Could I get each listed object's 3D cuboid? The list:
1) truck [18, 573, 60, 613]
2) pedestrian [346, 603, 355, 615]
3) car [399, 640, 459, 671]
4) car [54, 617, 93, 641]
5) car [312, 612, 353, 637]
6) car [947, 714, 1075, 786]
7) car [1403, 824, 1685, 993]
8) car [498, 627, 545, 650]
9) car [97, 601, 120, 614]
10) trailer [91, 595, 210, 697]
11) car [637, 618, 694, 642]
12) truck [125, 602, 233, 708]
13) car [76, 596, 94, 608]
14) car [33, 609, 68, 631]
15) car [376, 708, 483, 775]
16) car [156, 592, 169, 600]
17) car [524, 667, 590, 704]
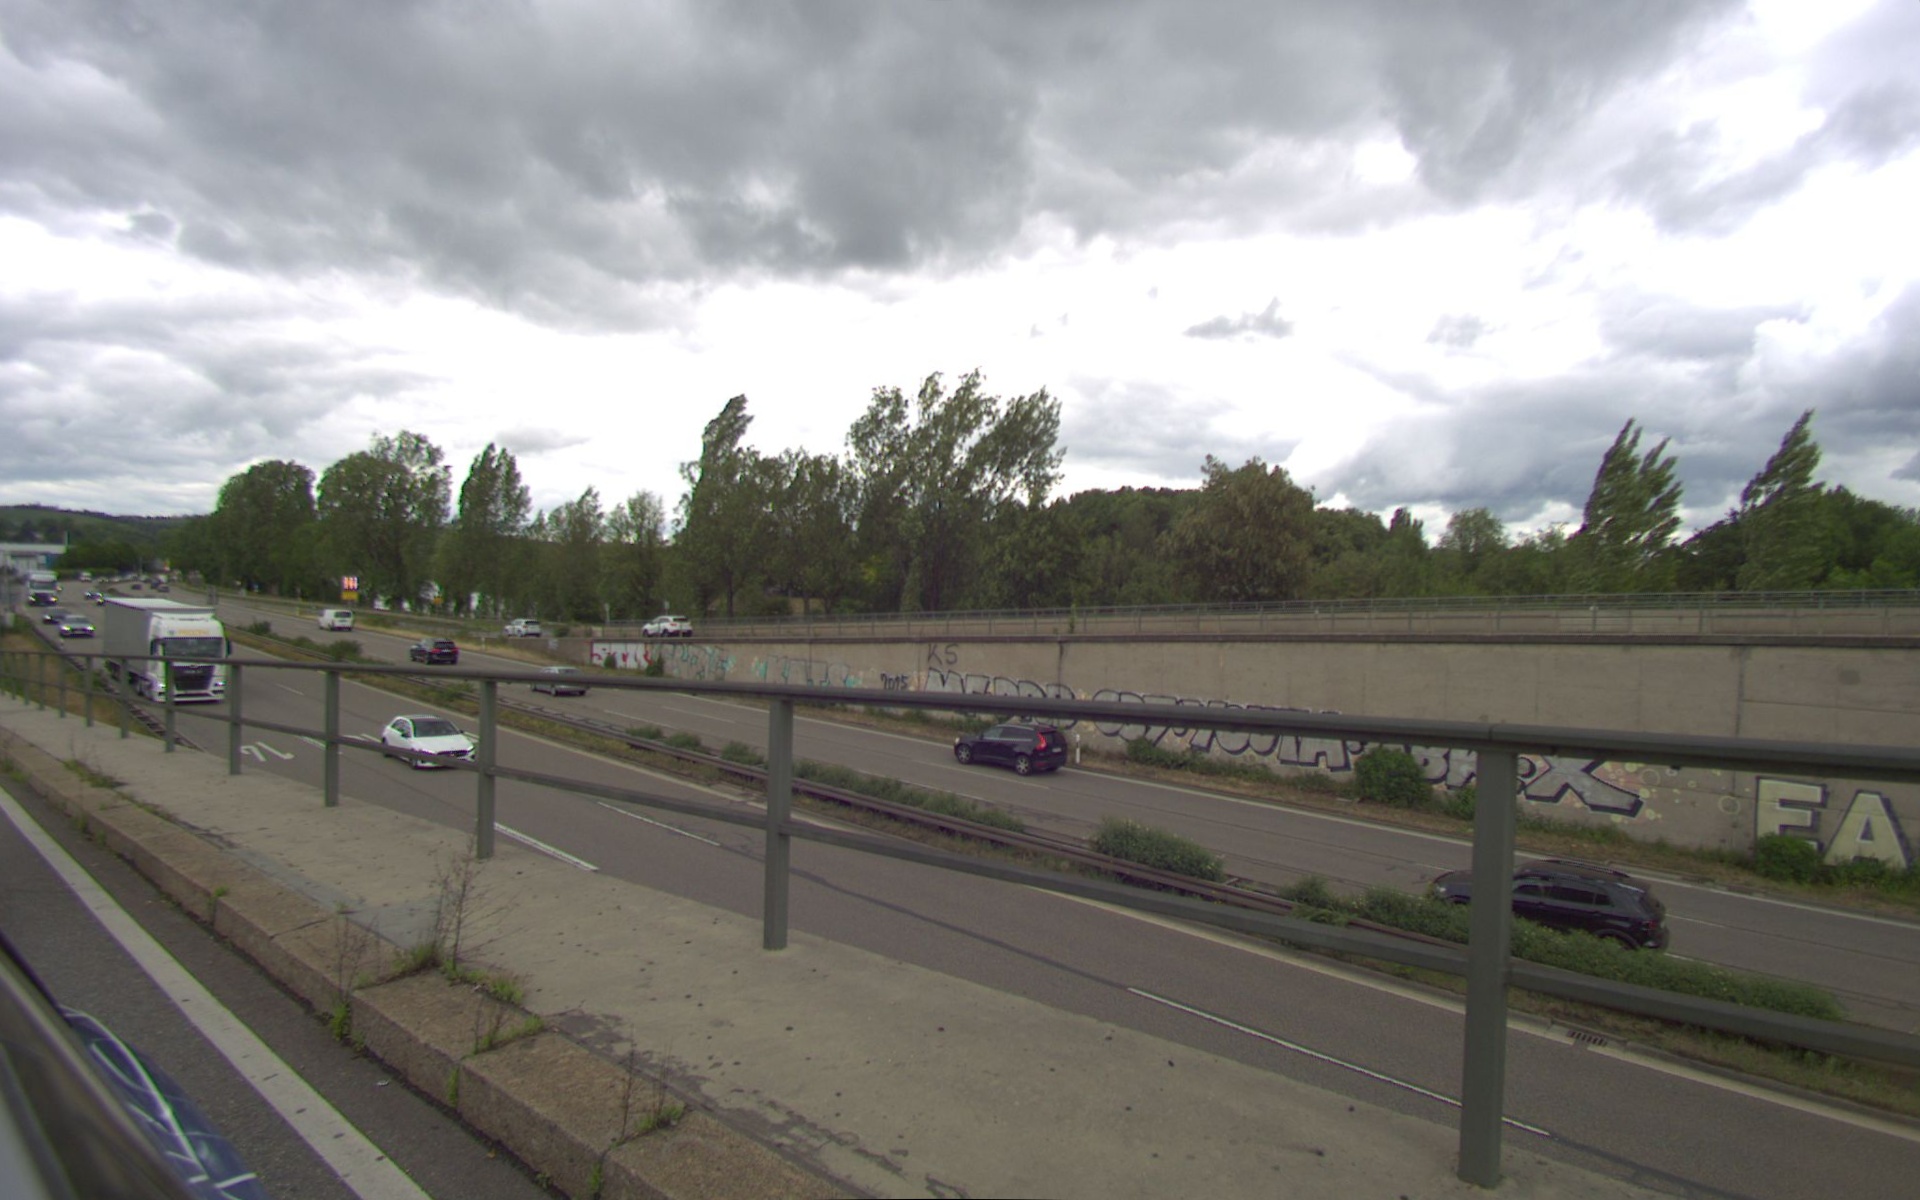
[{"bbox_3d":[-111.630,-0.944,122.606,11.131,4.559,3.136,3,1,45],"label":"truck"},{"bbox_3d":[-85.477,1.268,141.808,1.078,1.718,0.820,3,2,43],"label":"pedestrian"},{"bbox_3d":[-35.240,3.644,67.104,4.550,1.751,1.896,2,0,40],"label":"car"},{"bbox_3d":[-66.999,2.162,76.469,4.166,1.619,1.834,2,1,43],"label":"car"},{"bbox_3d":[-59.100,2.298,95.282,5.177,2.082,1.972,2,1,42],"label":"car"},{"bbox_3d":[1.798,5.355,36.686,4.408,1.855,1.911,2,1,41],"label":"car"},{"bbox_3d":[11.280,5.828,19.718,4.422,1.855,1.973,2,0,41],"label":"car"},{"bbox_3d":[-36.789,3.211,84.835,4.211,1.884,1.973,-2,-1,41],"label":"car"},{"bbox_3d":[-108.651,0.910,129.108,4.168,1.619,1.833,1,1,45],"label":"car"},{"bbox_3d":[-41.294,2.078,51.353,13.152,4.283,2.721,2,0,43],"label":"trailer"},{"bbox_3d":[-20.046,2.056,68.829,4.346,1.588,1.812,-2,-1,43],"label":"car"},{"bbox_3d":[-35.618,2.346,46.074,6.699,4.283,2.721,2,0,43],"label":"truck"},{"bbox_3d":[-127.792,0.249,147.755,1.832,1.619,4.171,1,1,-42],"label":"car"},{"bbox_3d":[-80.827,1.786,89.957,4.166,1.619,1.834,2,-4,43],"label":"car"},{"bbox_3d":[-17.560,4.603,33.421,4.279,1.429,1.894,3,2,44],"label":"car"},{"bbox_3d":[-162.330,-0.871,206.033,1.690,1.386,4.115,3,0,-43],"label":"car"},{"bbox_3d":[-21.216,4.446,53.201,4.089,1.539,1.709,2,0,45],"label":"car"}]
